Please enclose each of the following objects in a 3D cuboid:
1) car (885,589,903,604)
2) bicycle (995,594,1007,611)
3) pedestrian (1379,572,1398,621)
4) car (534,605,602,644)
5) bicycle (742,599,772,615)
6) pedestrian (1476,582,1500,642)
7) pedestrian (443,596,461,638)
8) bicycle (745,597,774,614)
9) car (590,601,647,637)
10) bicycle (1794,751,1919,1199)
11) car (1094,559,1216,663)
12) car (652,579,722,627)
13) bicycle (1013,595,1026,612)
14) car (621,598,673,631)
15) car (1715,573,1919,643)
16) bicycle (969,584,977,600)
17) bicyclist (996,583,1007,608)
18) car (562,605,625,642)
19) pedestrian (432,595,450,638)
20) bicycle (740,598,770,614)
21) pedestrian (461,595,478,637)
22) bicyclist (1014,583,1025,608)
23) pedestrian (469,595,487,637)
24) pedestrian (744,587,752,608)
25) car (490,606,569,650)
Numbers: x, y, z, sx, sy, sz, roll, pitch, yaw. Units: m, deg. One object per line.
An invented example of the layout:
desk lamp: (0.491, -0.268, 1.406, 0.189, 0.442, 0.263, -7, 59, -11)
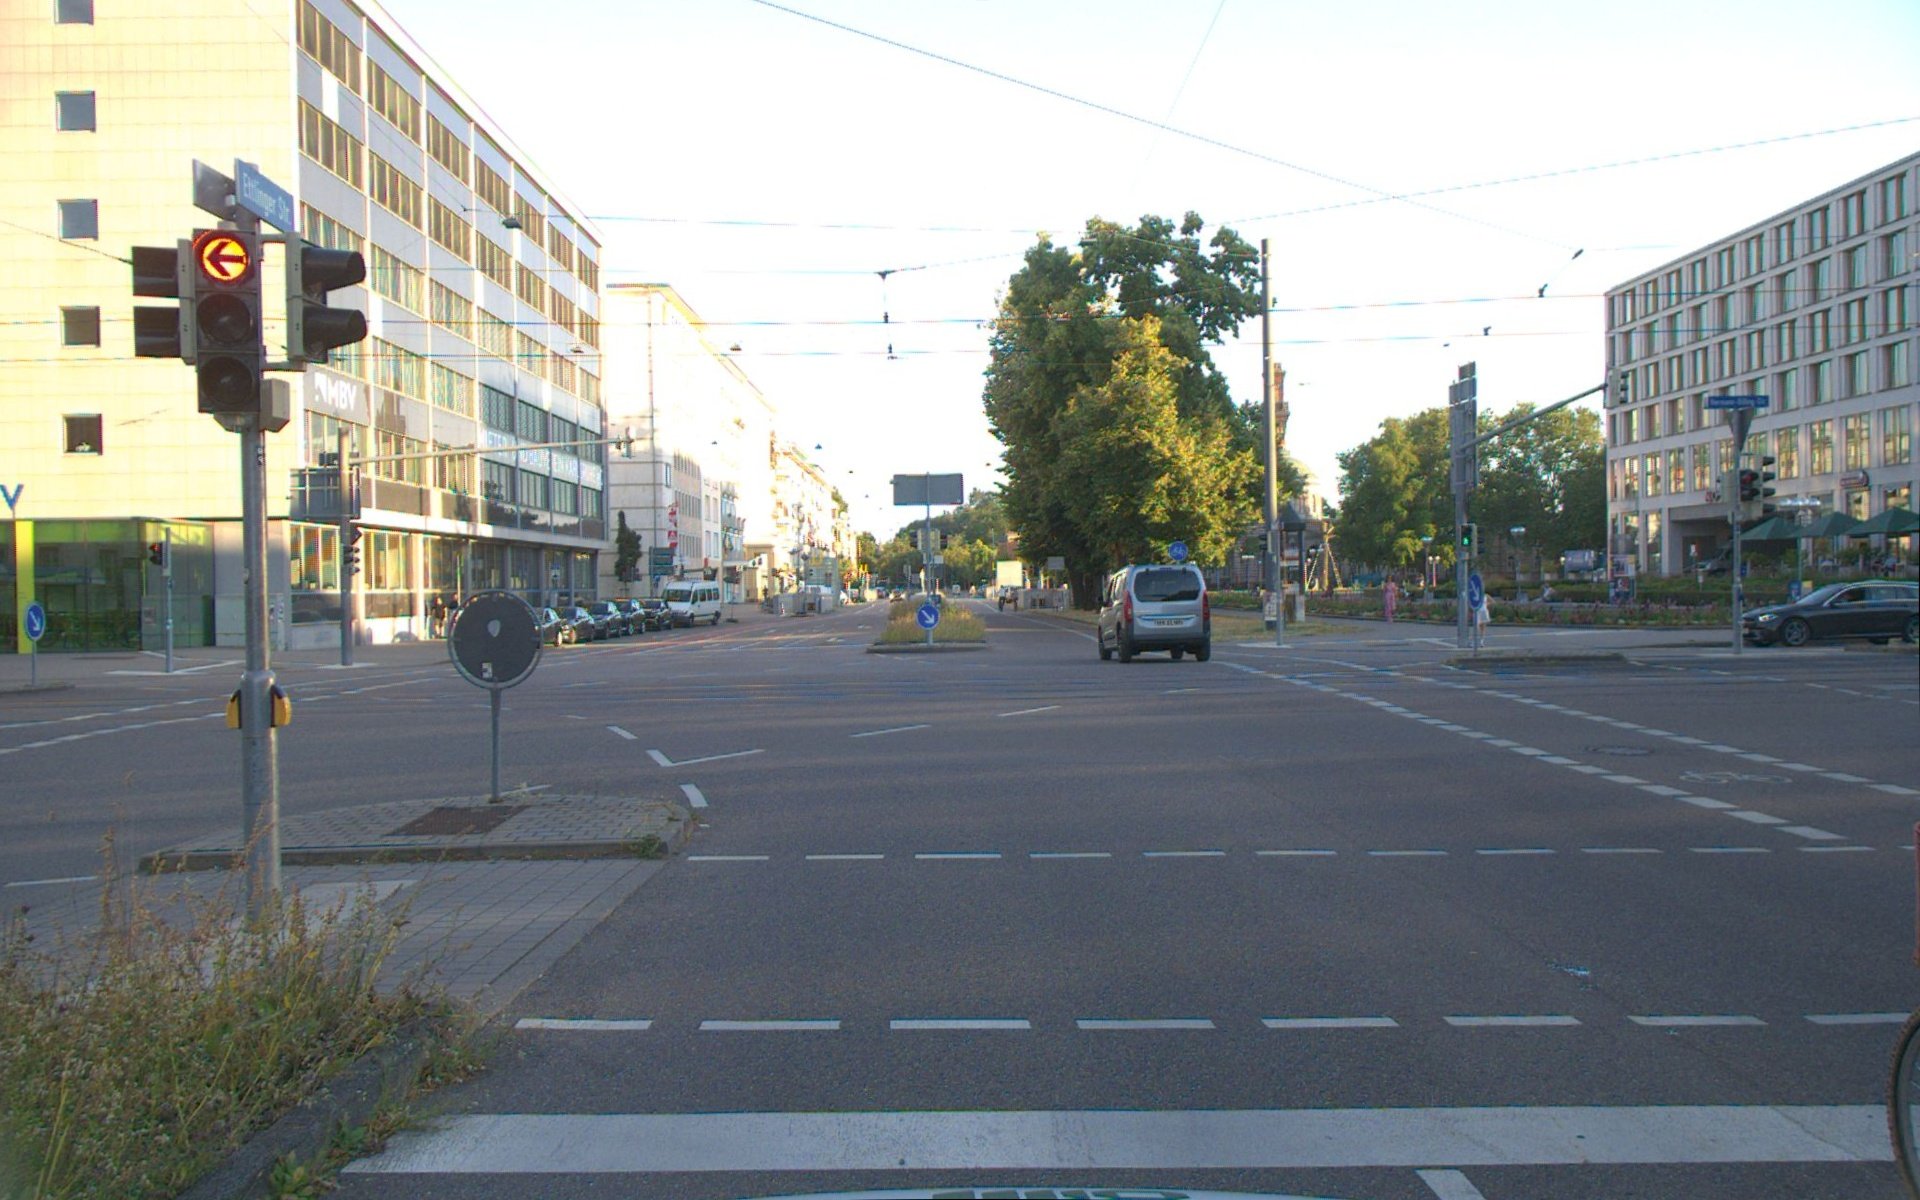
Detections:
car: (-7.246, -0.396, 181.638, 1.825, 1.546, 4.000, -1, 0, 0)
bicycle: (2.872, 0.144, 115.055, 0.731, 1.164, 2.505, -1, 0, -1)
pedestrian: (14.654, -0.121, 56.577, 0.451, 1.685, 0.566, -1, 0, -1)
car: (-16.117, 0.989, 68.175, 1.882, 1.489, 3.999, -1, 0, -1)
bicycle: (-15.579, 0.518, 126.856, 2.161, 1.131, 0.689, -1, 0, -2)
pedestrian: (13.872, 0.315, 43.471, 0.480, 1.566, 0.408, -1, 0, -1)
pedestrian: (-20.810, 0.684, 67.747, 0.540, 1.708, 0.500, -1, 0, -1)
bicycle: (-15.618, 0.446, 128.640, 2.161, 1.258, 0.839, -1, 0, -2)
car: (-16.133, 0.878, 78.293, 1.882, 1.595, 3.999, -1, 0, -1)
bicycle: (2.227, 0.928, 2.793, 0.599, 1.152, 2.004, 1, 0, -1)
car: (3.876, 0.196, 33.558, 1.727, 1.921, 4.497, -1, 0, -3)
car: (-14.941, 0.141, 90.999, 1.958, 2.521, 5.873, -1, 0, 9)
bicycle: (4.155, 0.212, 115.165, 0.731, 1.164, 2.505, -1, 0, -1)
car: (-15.959, 0.729, 84.524, 1.882, 1.595, 3.999, -1, 0, -1)
car: (21.068, 0.168, 39.936, 4.724, 1.542, 2.000, -1, 0, 1)
bicycle: (1.638, -0.988, 211.292, 0.877, 2.049, 3.999, -1, 0, -1)
bicyclist: (2.869, -0.303, 114.829, 0.731, 1.692, 0.873, -1, 0, -1)
car: (-16.137, 1.009, 72.989, 1.882, 1.489, 3.999, -1, 0, -1)
pedestrian: (-21.059, 0.677, 67.054, 0.540, 1.708, 0.500, -1, 0, -1)
bicycle: (-15.533, 0.461, 125.203, 2.161, 1.131, 0.618, -1, 0, -3)
pedestrian: (-20.113, 0.647, 67.847, 0.490, 1.708, 0.500, -1, 0, -1)
bicyclist: (4.140, -0.317, 115.113, 0.731, 1.720, 0.799, -1, 0, -1)
pedestrian: (-19.587, 0.652, 67.234, 0.540, 1.708, 0.500, -1, 0, -1)
pedestrian: (-21.066, -0.236, 164.509, 0.666, 2.049, 0.545, -1, 0, -1)
car: (-16.009, 1.029, 61.714, 1.882, 1.489, 4.102, -1, 0, -1)
